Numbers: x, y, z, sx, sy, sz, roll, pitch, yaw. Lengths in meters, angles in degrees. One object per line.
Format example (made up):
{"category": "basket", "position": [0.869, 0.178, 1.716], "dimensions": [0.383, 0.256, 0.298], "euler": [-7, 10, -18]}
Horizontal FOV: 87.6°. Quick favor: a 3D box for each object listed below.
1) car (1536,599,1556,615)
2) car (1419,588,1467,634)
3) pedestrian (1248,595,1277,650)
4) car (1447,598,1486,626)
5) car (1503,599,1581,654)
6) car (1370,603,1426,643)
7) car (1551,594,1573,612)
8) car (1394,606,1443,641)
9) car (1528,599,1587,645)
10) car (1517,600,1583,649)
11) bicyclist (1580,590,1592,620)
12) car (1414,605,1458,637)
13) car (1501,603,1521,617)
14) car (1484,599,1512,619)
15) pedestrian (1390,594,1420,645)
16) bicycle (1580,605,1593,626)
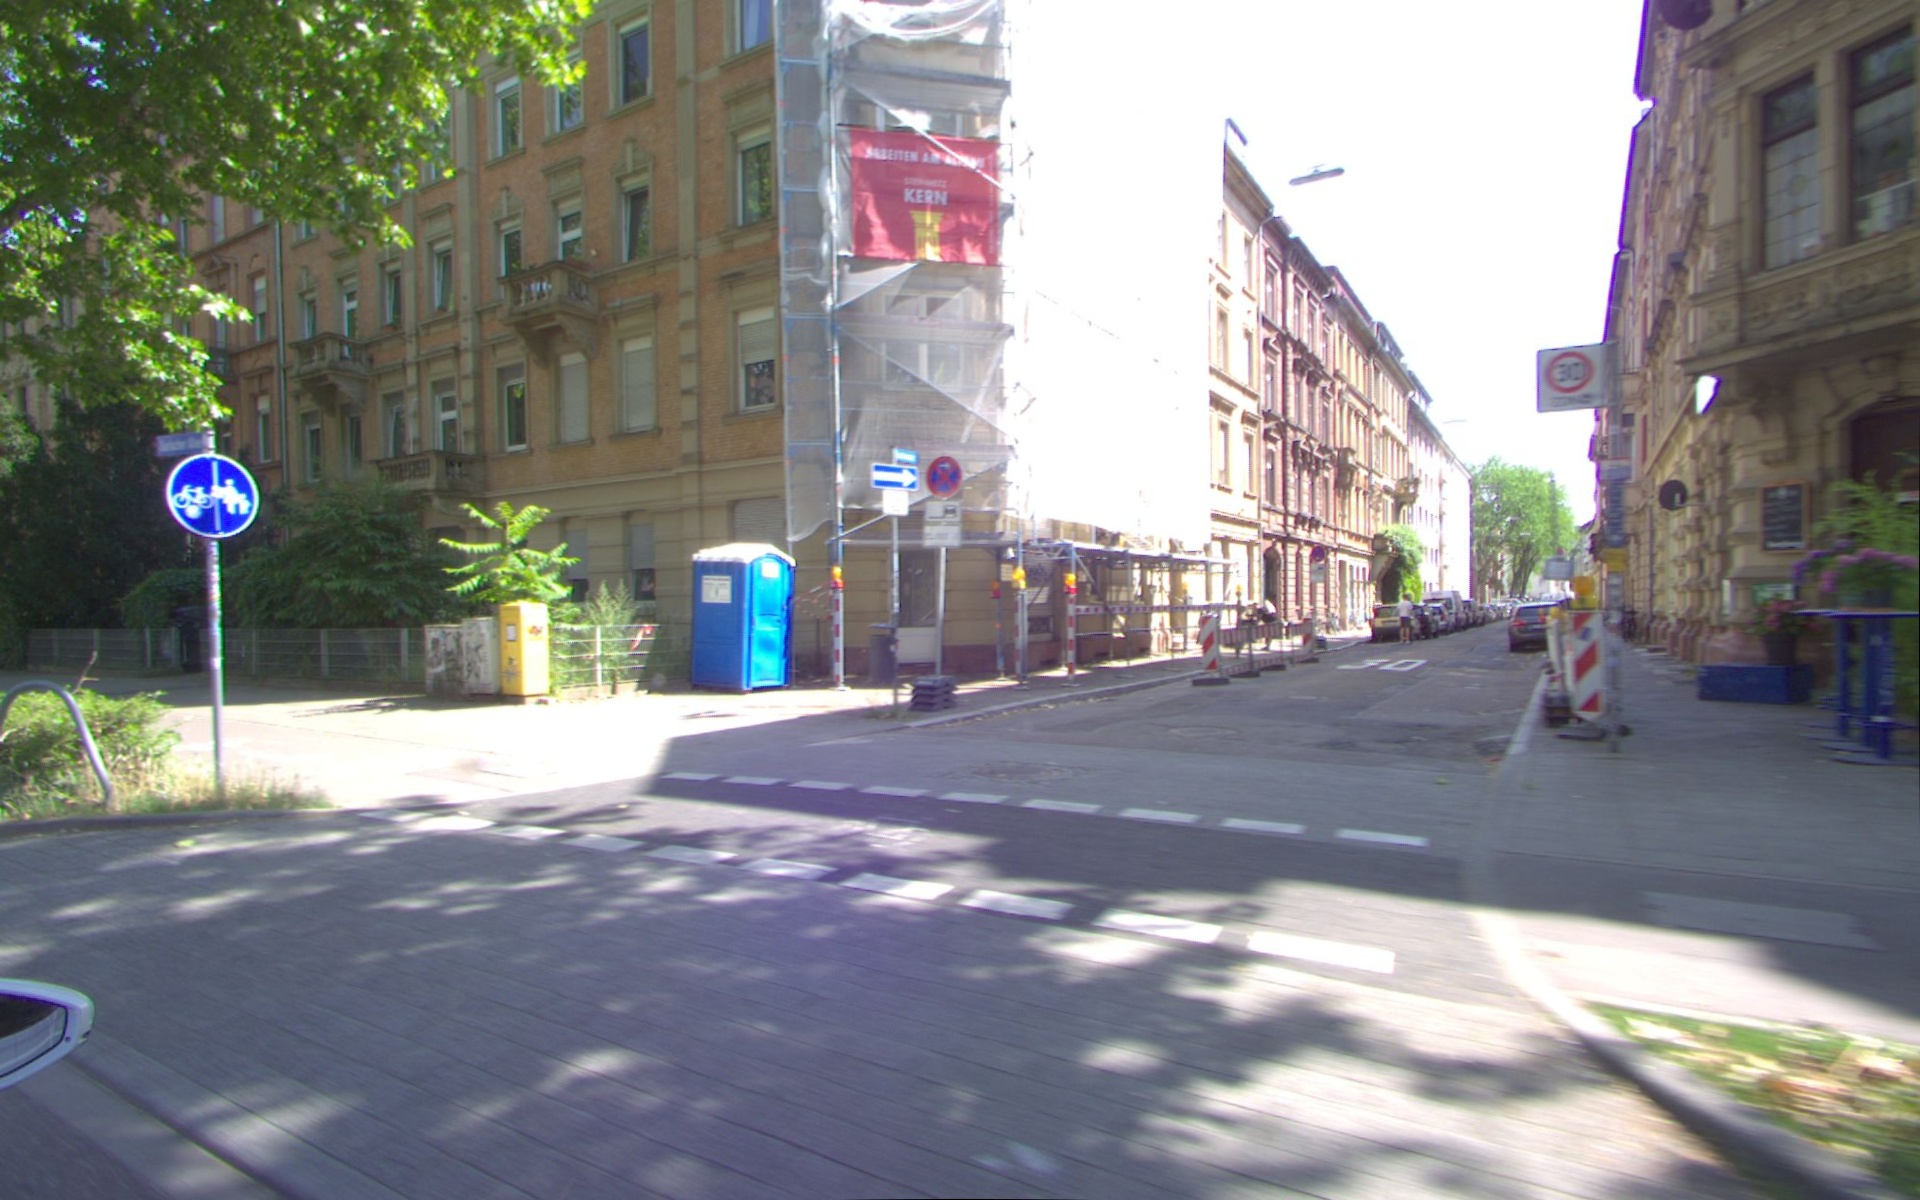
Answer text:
{"category": "car", "position": [66.604, 0.792, 113.761], "dimensions": [1.971, 1.762, 3.980], "euler": [0, 0, 31]}
{"category": "car", "position": [26.542, 0.579, 54.974], "dimensions": [1.886, 2.405, 4.224], "euler": [0, 0, 33]}
{"category": "pedestrian", "position": [9.752, 0.724, 32.289], "dimensions": [0.843, 1.748, 0.834], "euler": [-1, 0, 19]}
{"category": "car", "position": [32.691, 0.783, 64.585], "dimensions": [1.886, 1.732, 4.139], "euler": [0, 0, 33]}
{"category": "car", "position": [18.005, 0.766, 30.963], "dimensions": [1.971, 1.572, 3.979], "euler": [-1, 0, 31]}
{"category": "car", "position": [17.888, 0.913, 40.840], "dimensions": [1.702, 1.549, 3.478], "euler": [0, 0, 30]}
{"category": "car", "position": [61.642, 0.296, 102.534], "dimensions": [1.971, 1.762, 3.980], "euler": [0, 0, 31]}
{"category": "car", "position": [20.881, 1.043, 45.523], "dimensions": [1.702, 1.549, 3.478], "euler": [-1, 0, 30]}
{"category": "car", "position": [24.000, 0.850, 40.224], "dimensions": [1.971, 1.762, 3.979], "euler": [-1, 0, 31]}
{"category": "car", "position": [21.333, 0.840, 36.186], "dimensions": [1.971, 1.661, 3.979], "euler": [-1, 0, 31]}
{"category": "bicyclist", "position": [30.311, 0.235, 48.485], "dimensions": [0.525, 1.472, 0.458], "euler": [0, 1, 33]}
{"category": "car", "position": [24.055, 1.038, 50.578], "dimensions": [1.702, 1.549, 3.478], "euler": [0, 0, 30]}
{"category": "car", "position": [56.553, 0.992, 102.764], "dimensions": [1.647, 1.420, 3.343], "euler": [-1, 0, 32]}
{"category": "car", "position": [46.164, 0.757, 85.862], "dimensions": [1.886, 1.732, 4.140], "euler": [0, 0, 32]}
{"category": "pedestrian", "position": [16.372, 0.718, 36.867], "dimensions": [0.922, 1.822, 1.034], "euler": [0, 0, 29]}
{"category": "bicycle", "position": [30.291, 0.755, 48.453], "dimensions": [0.531, 0.991, 1.303], "euler": [0, 0, 32]}
